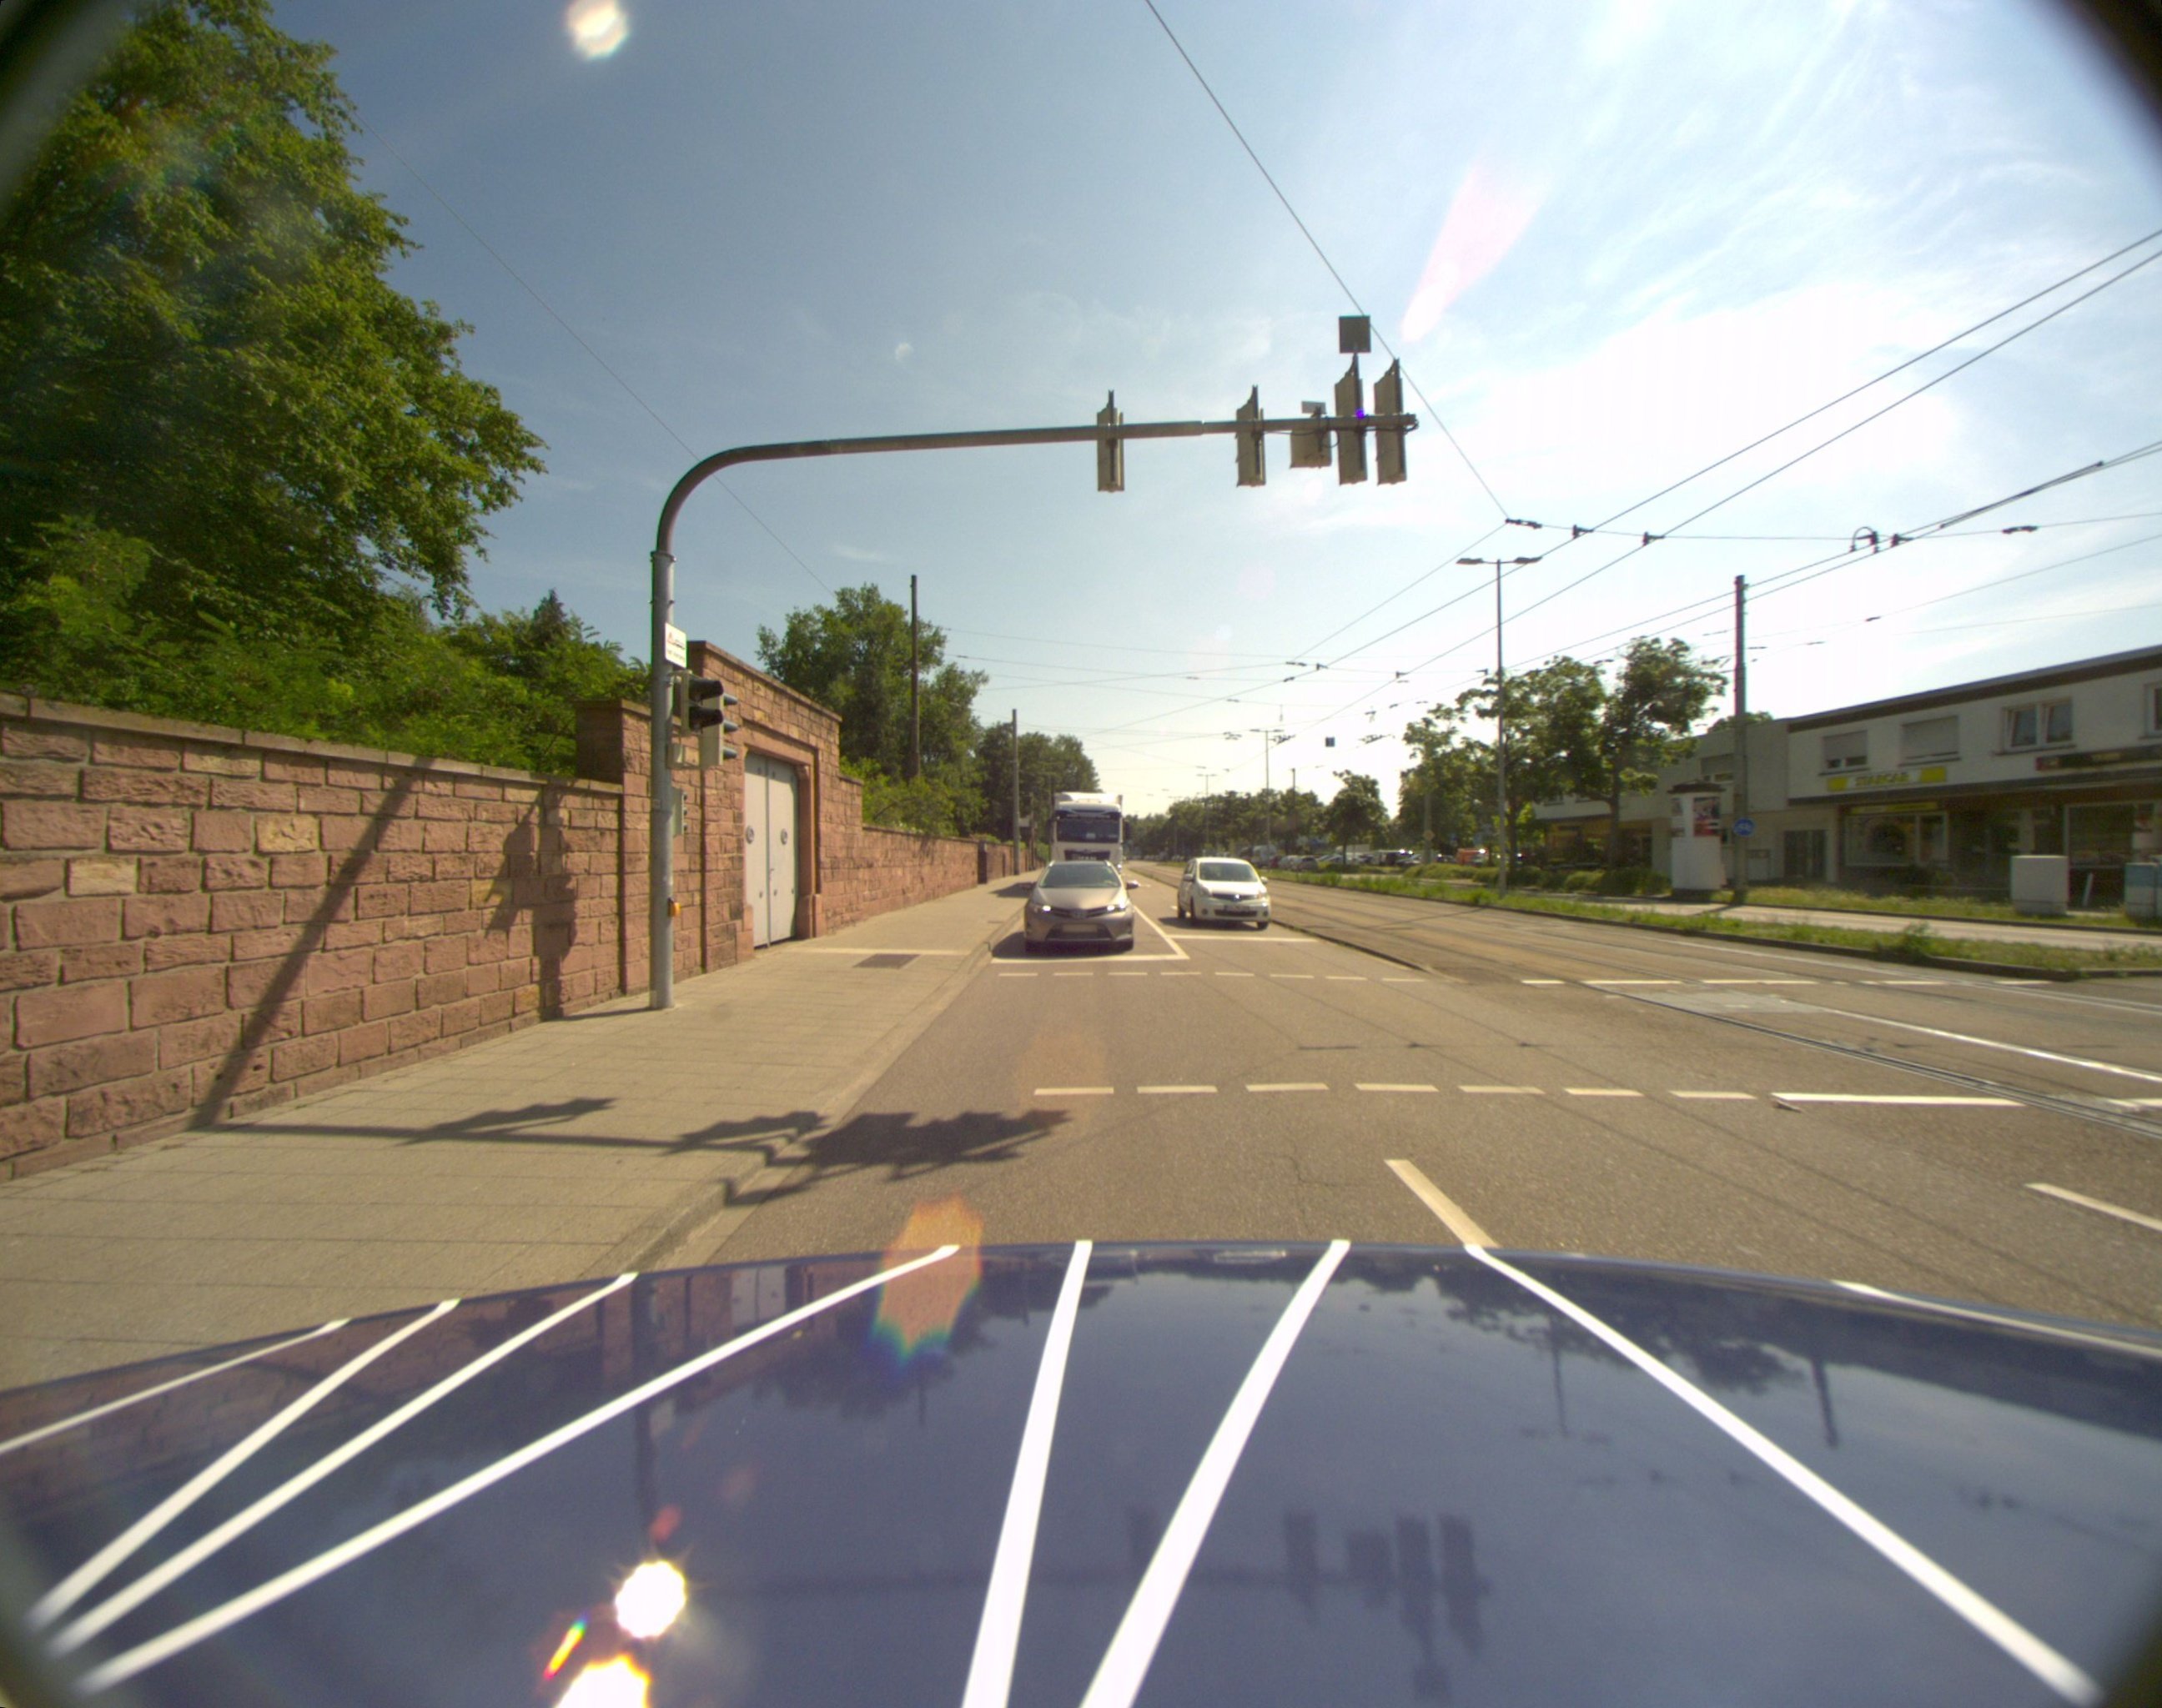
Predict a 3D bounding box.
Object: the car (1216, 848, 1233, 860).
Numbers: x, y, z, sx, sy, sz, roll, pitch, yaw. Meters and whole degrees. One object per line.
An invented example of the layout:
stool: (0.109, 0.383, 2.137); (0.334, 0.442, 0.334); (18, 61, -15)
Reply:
car: (22.171, 0.035, 117.497); (1.892, 1.757, 4.232); (0, 0, 1)

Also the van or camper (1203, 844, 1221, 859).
van or camper: (22.319, -0.460, 129.848); (2.114, 2.604, 5.452); (1, 1, 1)

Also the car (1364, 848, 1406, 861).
car: (31.203, 0.062, 78.129); (3.624, 1.277, 1.712); (0, 0, -1)

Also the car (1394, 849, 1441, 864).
car: (31.254, 0.243, 70.593); (3.624, 1.353, 1.712); (0, 1, -1)

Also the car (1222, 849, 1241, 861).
car: (21.841, 0.078, 110.564); (1.892, 1.724, 4.232); (0, 0, 1)

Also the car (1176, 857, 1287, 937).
car: (3.293, 0.866, 17.367); (1.770, 1.552, 4.067); (1, 0, 1)

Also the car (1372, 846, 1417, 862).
car: (31.261, 0.005, 75.802); (3.749, 1.560, 1.951); (0, 1, -1)

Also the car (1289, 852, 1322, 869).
car: (20.988, 0.591, 71.141); (1.892, 1.486, 4.285); (-3, 0, 2)

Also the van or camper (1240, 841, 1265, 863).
van or camper: (21.169, -0.271, 94.063); (2.040, 2.617, 4.839); (0, 0, 1)

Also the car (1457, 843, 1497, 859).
car: (44.469, -0.330, 85.343); (3.624, 1.767, 1.712); (0, 1, -1)

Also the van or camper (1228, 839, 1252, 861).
van or camper: (21.319, -0.532, 101.953); (2.128, 2.967, 5.281); (0, 0, 1)

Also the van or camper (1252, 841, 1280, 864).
van or camper: (21.163, -0.192, 87.007); (2.040, 2.617, 4.839); (0, 0, 1)

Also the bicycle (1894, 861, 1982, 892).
bicycle: (28.269, 0.729, 25.107); (0.760, 0.977, 1.911); (0, 0, 1)

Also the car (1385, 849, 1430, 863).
car: (31.481, 0.217, 73.334); (3.624, 1.353, 1.712); (0, 1, -1)

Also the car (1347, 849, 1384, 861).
car: (32.251, 0.123, 86.218); (3.624, 1.274, 1.712); (0, 0, -1)

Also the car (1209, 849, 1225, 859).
car: (22.068, 0.049, 123.324); (1.892, 1.551, 4.232); (0, 0, 1)

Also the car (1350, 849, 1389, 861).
car: (31.742, 0.144, 83.736); (3.624, 1.274, 1.812); (0, 0, -1)

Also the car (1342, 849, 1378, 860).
car: (32.605, 0.098, 88.949); (3.624, 1.274, 1.712); (0, 0, -1)

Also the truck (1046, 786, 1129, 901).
truck: (0.313, -0.386, 30.519); (2.746, 3.852, 9.110); (2, 0, 1)

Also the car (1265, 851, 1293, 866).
car: (21.282, 0.463, 81.877); (1.892, 1.486, 4.232); (0, 0, 1)

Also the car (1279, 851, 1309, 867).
car: (21.307, 0.456, 76.250); (1.892, 1.551, 4.285); (0, 0, 1)

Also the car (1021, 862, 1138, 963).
car: (0.026, 0.899, 13.521); (1.742, 1.424, 4.462); (0, 0, 1)

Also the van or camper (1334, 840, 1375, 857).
van or camper: (46.144, -0.911, 128.236); (6.081, 2.715, 2.299); (0, 1, 3)
